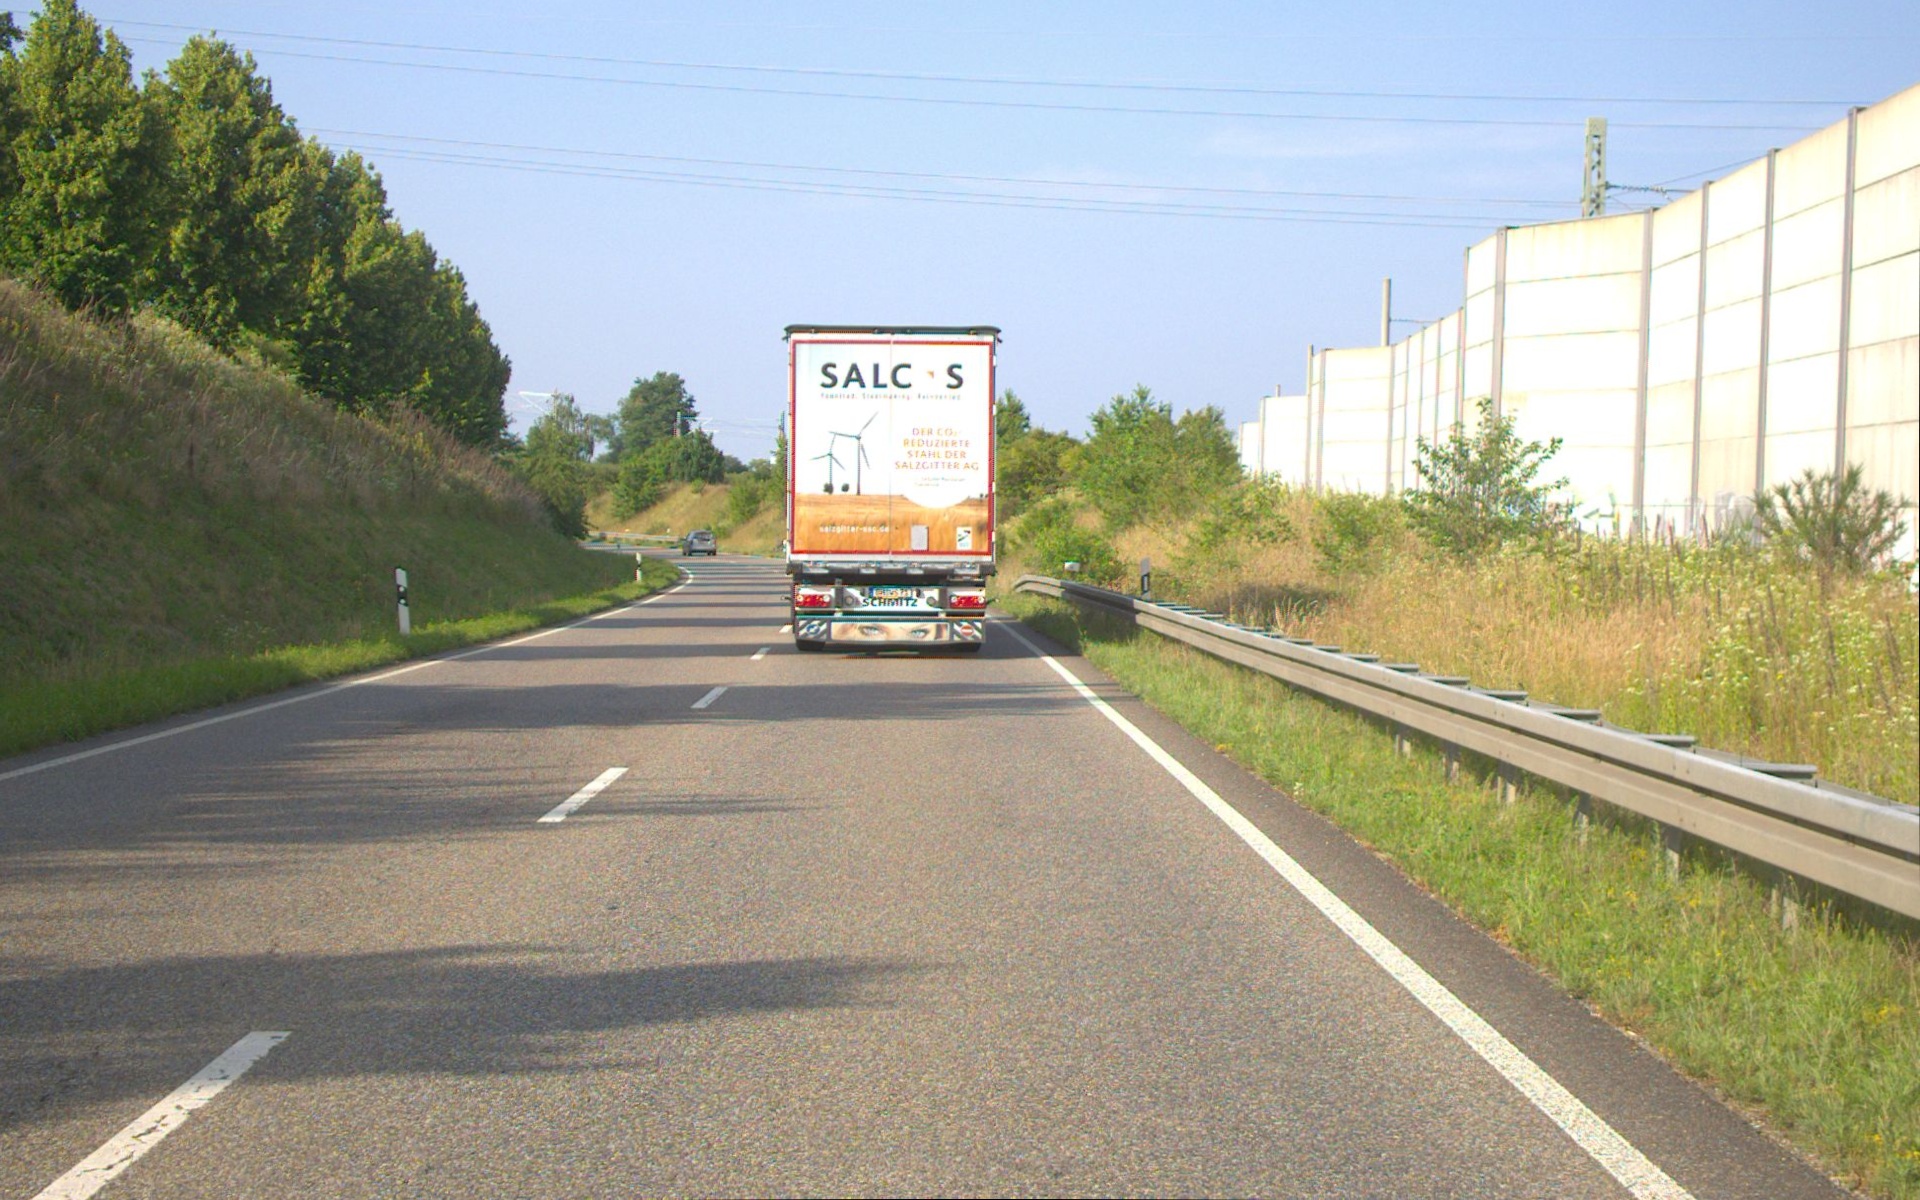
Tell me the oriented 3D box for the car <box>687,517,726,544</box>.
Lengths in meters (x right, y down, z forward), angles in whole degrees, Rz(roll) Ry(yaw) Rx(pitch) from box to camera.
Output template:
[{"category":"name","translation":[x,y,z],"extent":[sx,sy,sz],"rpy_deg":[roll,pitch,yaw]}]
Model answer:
[{"category":"car","translation":[-15.267,-4.196,207.136],"extent":[2.046,1.576,4.360],"rpy_deg":[1,1,-1]}]

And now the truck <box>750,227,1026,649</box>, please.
[{"category":"truck","translation":[-1.113,-2.145,47.691],"extent":[3.290,5.072,12.040],"rpy_deg":[1,2,-2]}]
